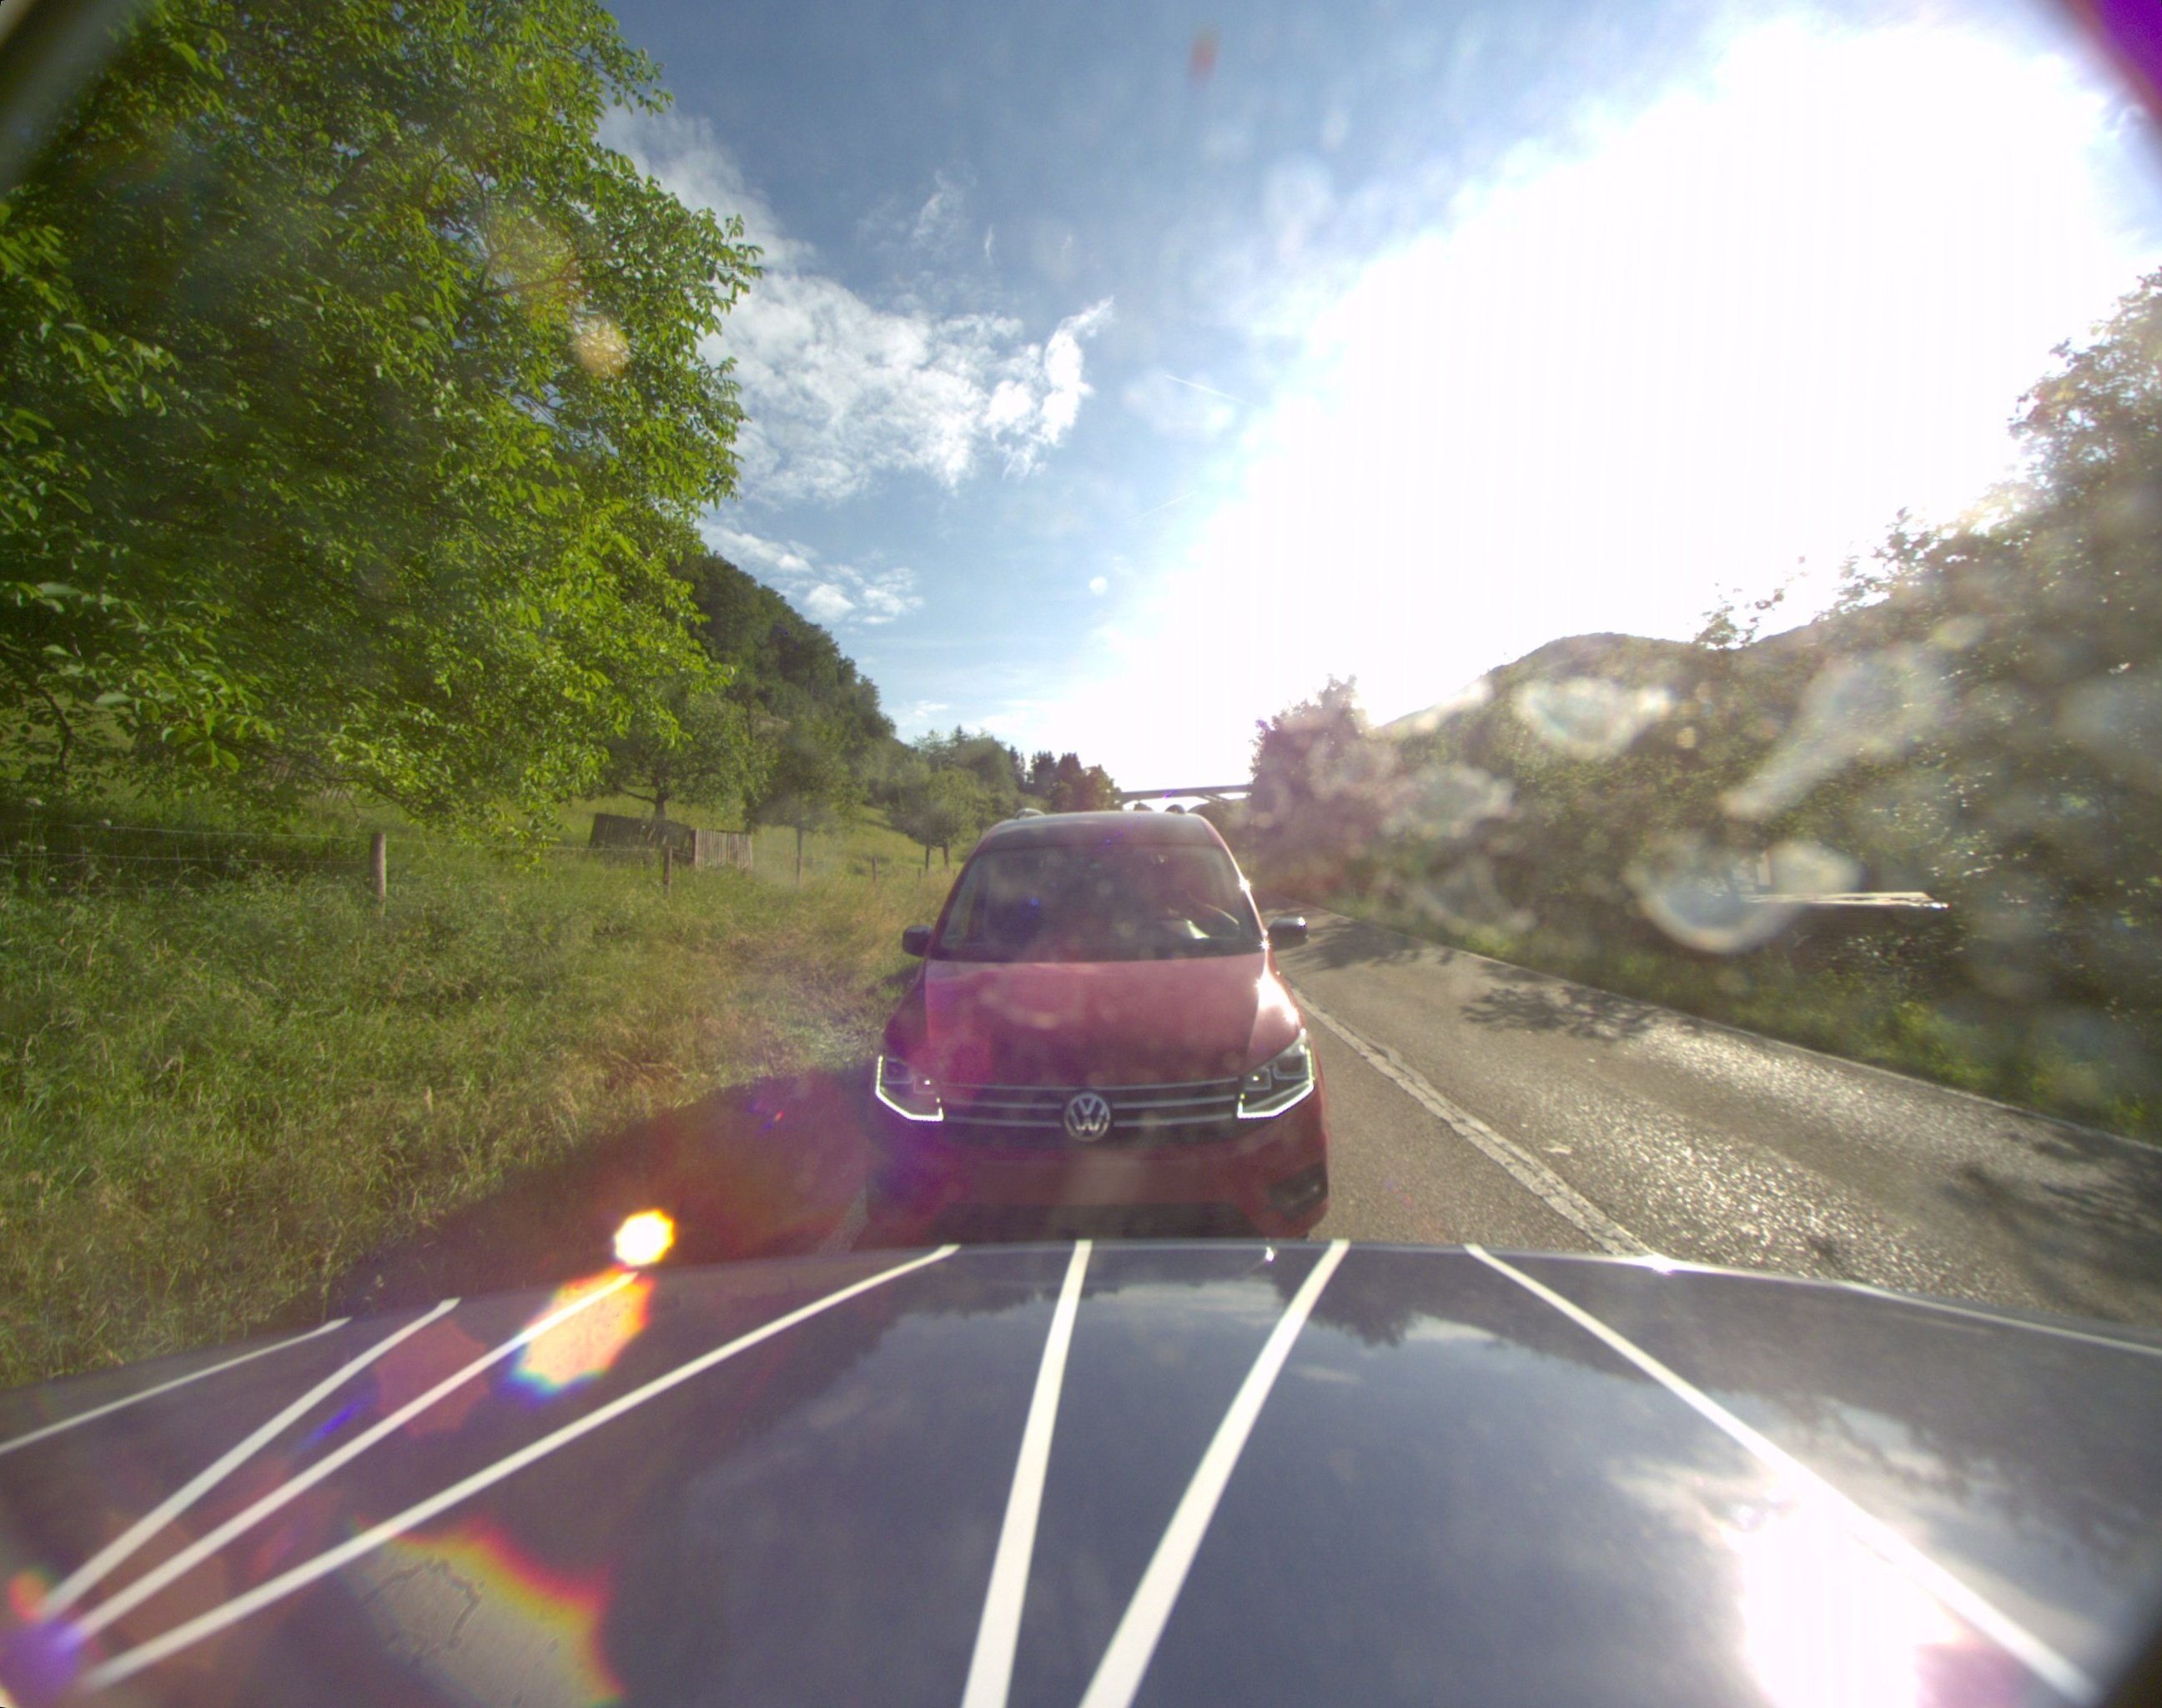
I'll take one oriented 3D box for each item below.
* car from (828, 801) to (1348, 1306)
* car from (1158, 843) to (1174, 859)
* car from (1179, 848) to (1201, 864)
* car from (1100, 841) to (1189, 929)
[{"bbox_3d":[0.163,0.688,4.870,1.758,1.745,4.430,-2,1,4],"label":"car"},{"bbox_3d":[11.194,-0.410,100.469,1.997,2.002,4.001,-2,1,6],"label":"car"},{"bbox_3d":[10.776,0.189,75.315,1.708,1.422,4.051,-2,1,3],"label":"car"},{"bbox_3d":[1.454,0.608,17.588,1.758,1.745,4.001,-2,1,5],"label":"car"}]
